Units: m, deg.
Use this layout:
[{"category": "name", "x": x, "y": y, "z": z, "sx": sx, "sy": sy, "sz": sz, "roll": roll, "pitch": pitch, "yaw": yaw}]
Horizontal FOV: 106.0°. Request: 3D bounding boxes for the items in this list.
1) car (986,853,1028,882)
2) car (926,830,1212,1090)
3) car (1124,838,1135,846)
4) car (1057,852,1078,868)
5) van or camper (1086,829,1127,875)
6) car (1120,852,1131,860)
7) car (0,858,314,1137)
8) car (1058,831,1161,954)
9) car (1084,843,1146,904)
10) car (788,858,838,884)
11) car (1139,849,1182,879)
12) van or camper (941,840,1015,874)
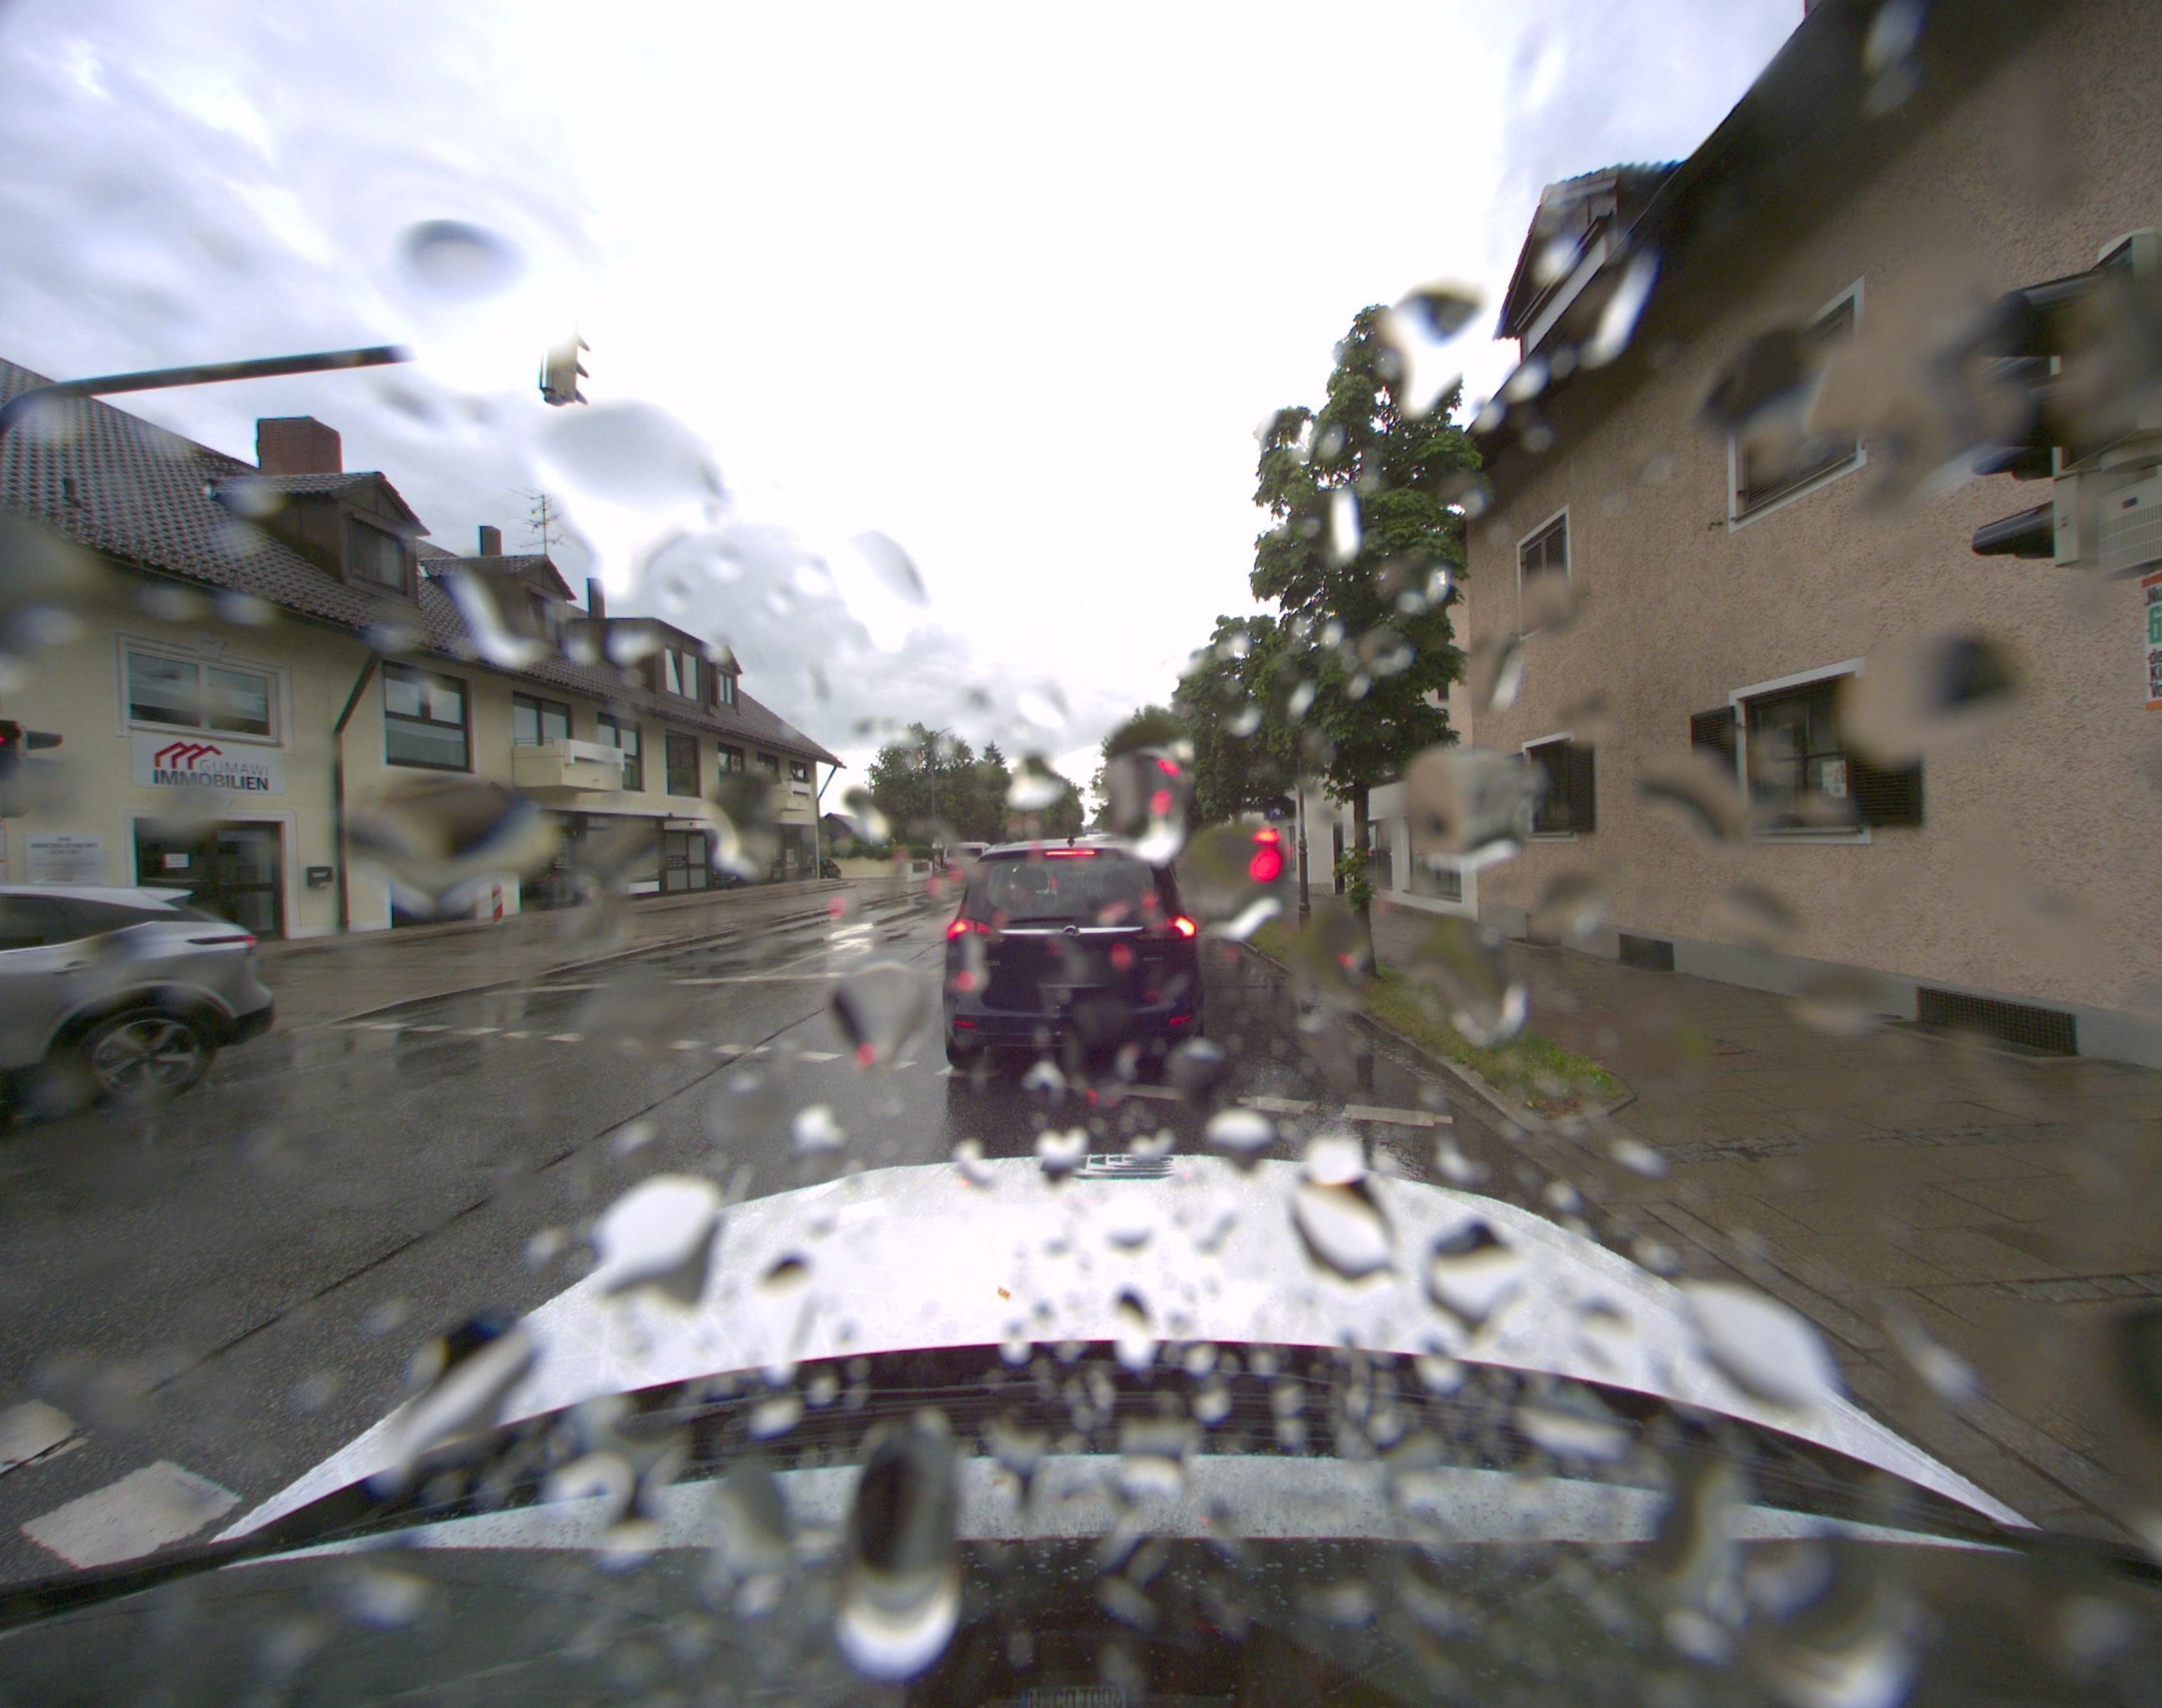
[{"category": "car", "x": -4.300, "y": 0.742, "z": 47.767, "sx": 1.909, "sy": 1.533, "sz": 3.900, "roll": -3, "pitch": 0, "yaw": 1}, {"category": "car", "x": -0.021, "y": 0.653, "z": 6.865, "sx": 1.762, "sy": 1.604, "sz": 3.665, "roll": 0, "pitch": 0, "yaw": 2}, {"category": "car", "x": 8.543, "y": -2.088, "z": 143.479, "sx": 1.624, "sy": 1.378, "sz": 3.624, "roll": -3, "pitch": 0, "yaw": 1}, {"category": "car", "x": -1.457, "y": 0.643, "z": 89.038, "sx": 1.960, "sy": 1.562, "sz": 4.153, "roll": -3, "pitch": 0, "yaw": 2}, {"category": "van or camper", "x": 1.613, "y": -0.118, "z": 51.222, "sx": 2.351, "sy": 2.665, "sz": 5.374, "roll": -2, "pitch": 0, "yaw": 2}, {"category": "car", "x": 7.291, "y": 0.324, "z": 134.078, "sx": 1.624, "sy": 1.378, "sz": 3.624, "roll": 0, "pitch": -1, "yaw": 1}, {"category": "car", "x": -7.808, "y": 0.946, "z": 4.694, "sx": 2.065, "sy": 1.673, "sz": 4.408, "roll": -3, "pitch": 0, "yaw": 19}, {"category": "car", "x": 0.464, "y": 0.550, "z": 13.366, "sx": 1.495, "sy": 1.776, "sz": 3.113, "roll": 0, "pitch": 0, "yaw": 2}, {"category": "car", "x": 1.042, "y": 0.566, "z": 25.470, "sx": 1.749, "sy": 1.706, "sz": 3.620, "roll": -2, "pitch": 0, "yaw": 2}, {"category": "car", "x": -15.913, "y": 0.978, "z": 48.485, "sx": 1.600, "sy": 1.380, "sz": 3.511, "roll": -3, "pitch": 0, "yaw": 2}, {"category": "car", "x": 4.359, "y": 0.529, "z": 45.214, "sx": 2.110, "sy": 1.581, "sz": 3.936, "roll": 0, "pitch": 0, "yaw": 1}, {"category": "van or camper", "x": -8.912, "y": 0.220, "z": 71.016, "sx": 6.241, "sy": 2.707, "sz": 2.096, "roll": -2, "pitch": 0, "yaw": -7}]
